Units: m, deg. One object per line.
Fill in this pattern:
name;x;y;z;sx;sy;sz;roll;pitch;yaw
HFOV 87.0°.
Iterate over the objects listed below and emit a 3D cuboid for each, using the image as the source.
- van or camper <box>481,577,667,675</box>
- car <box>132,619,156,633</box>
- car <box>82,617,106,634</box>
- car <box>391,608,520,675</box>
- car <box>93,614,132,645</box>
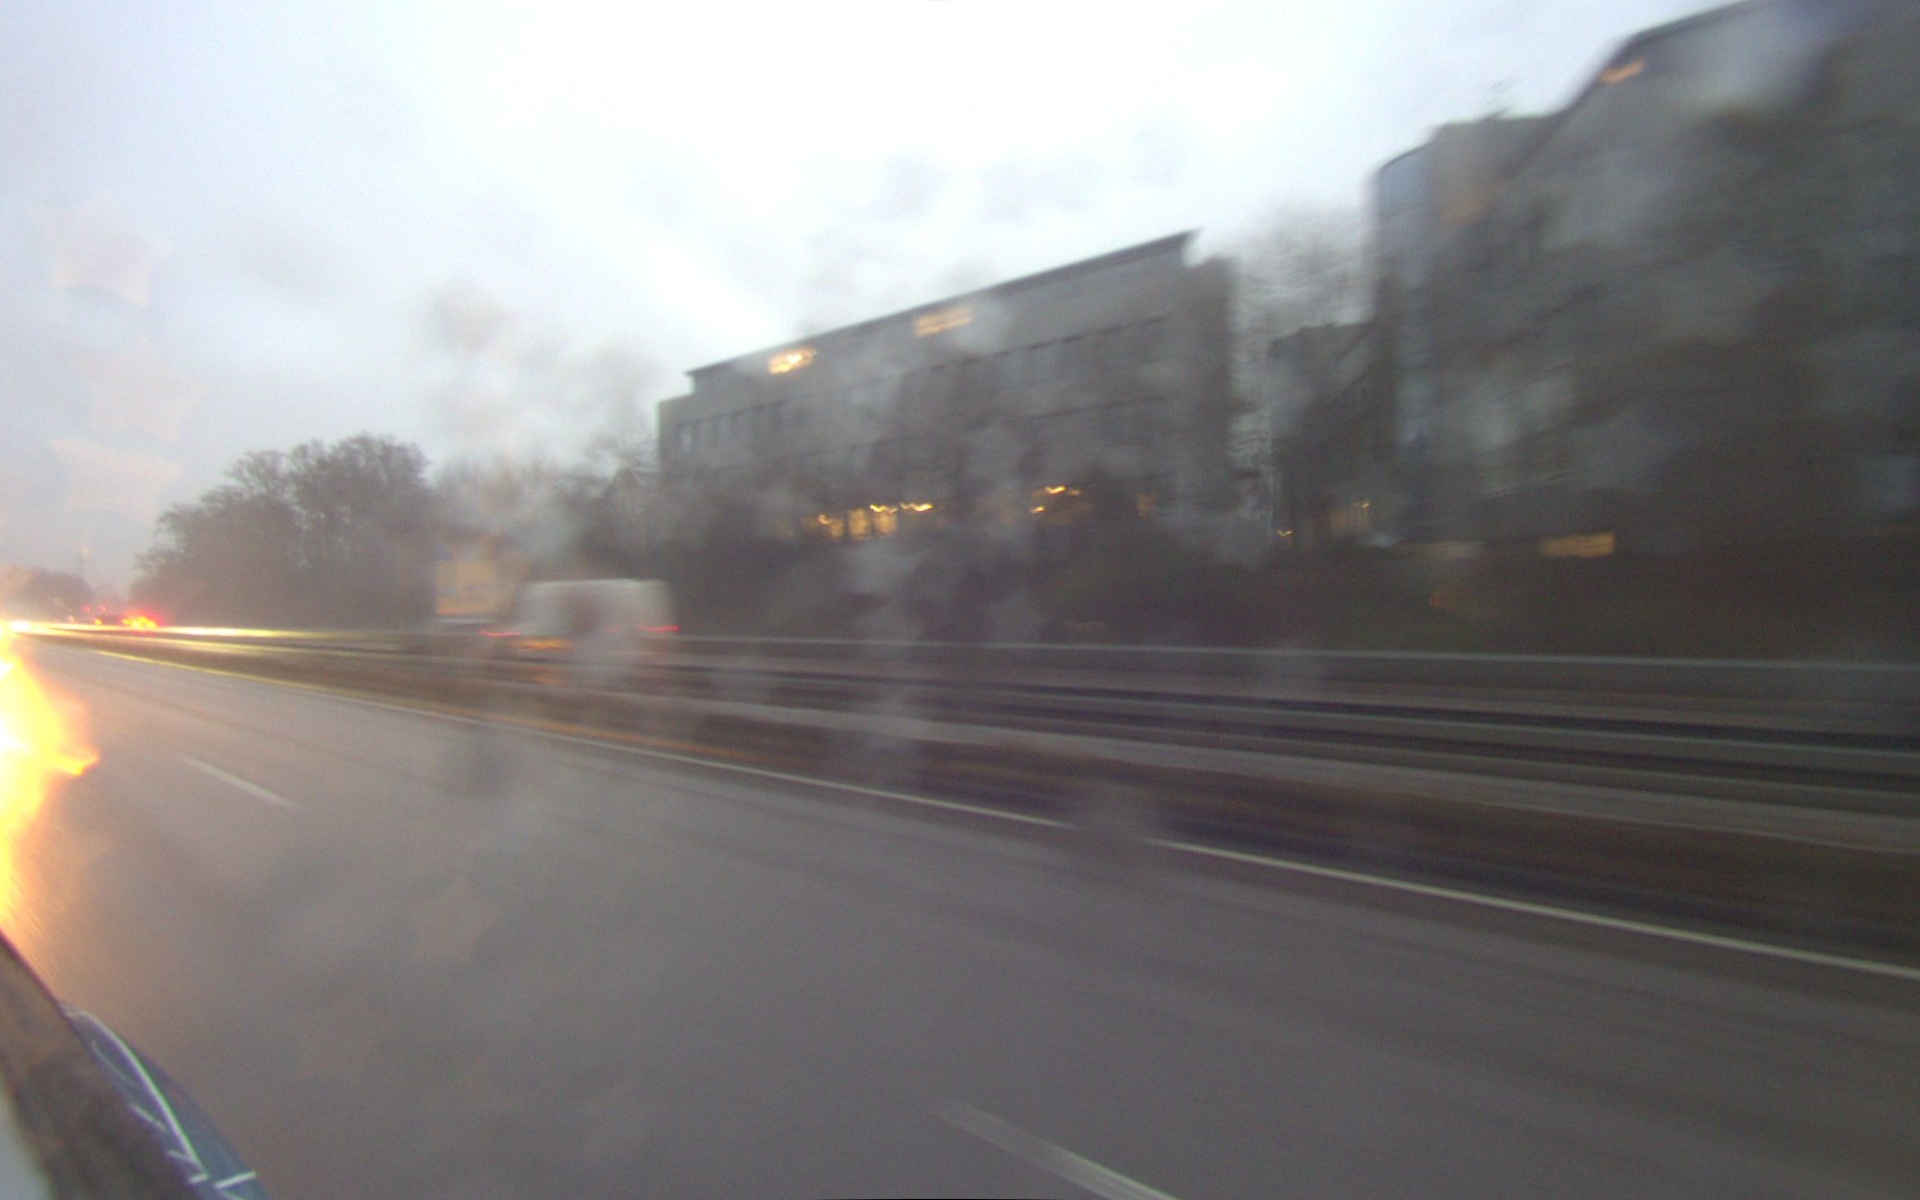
van or camper;-11.779;0.753;30.470;7.403;2.590;2.054;-1;2;43
car;-92.406;2.935;114.586;4.542;1.524;1.528;-1;1;45
car;-151.128;4.414;176.541;6.342;2.751;2.499;-1;2;45
car;-13.514;1.059;27.024;4.001;1.563;1.762;-1;2;44
car;-65.841;2.286;78.604;1.952;2.299;5.052;-1;-1;-44
